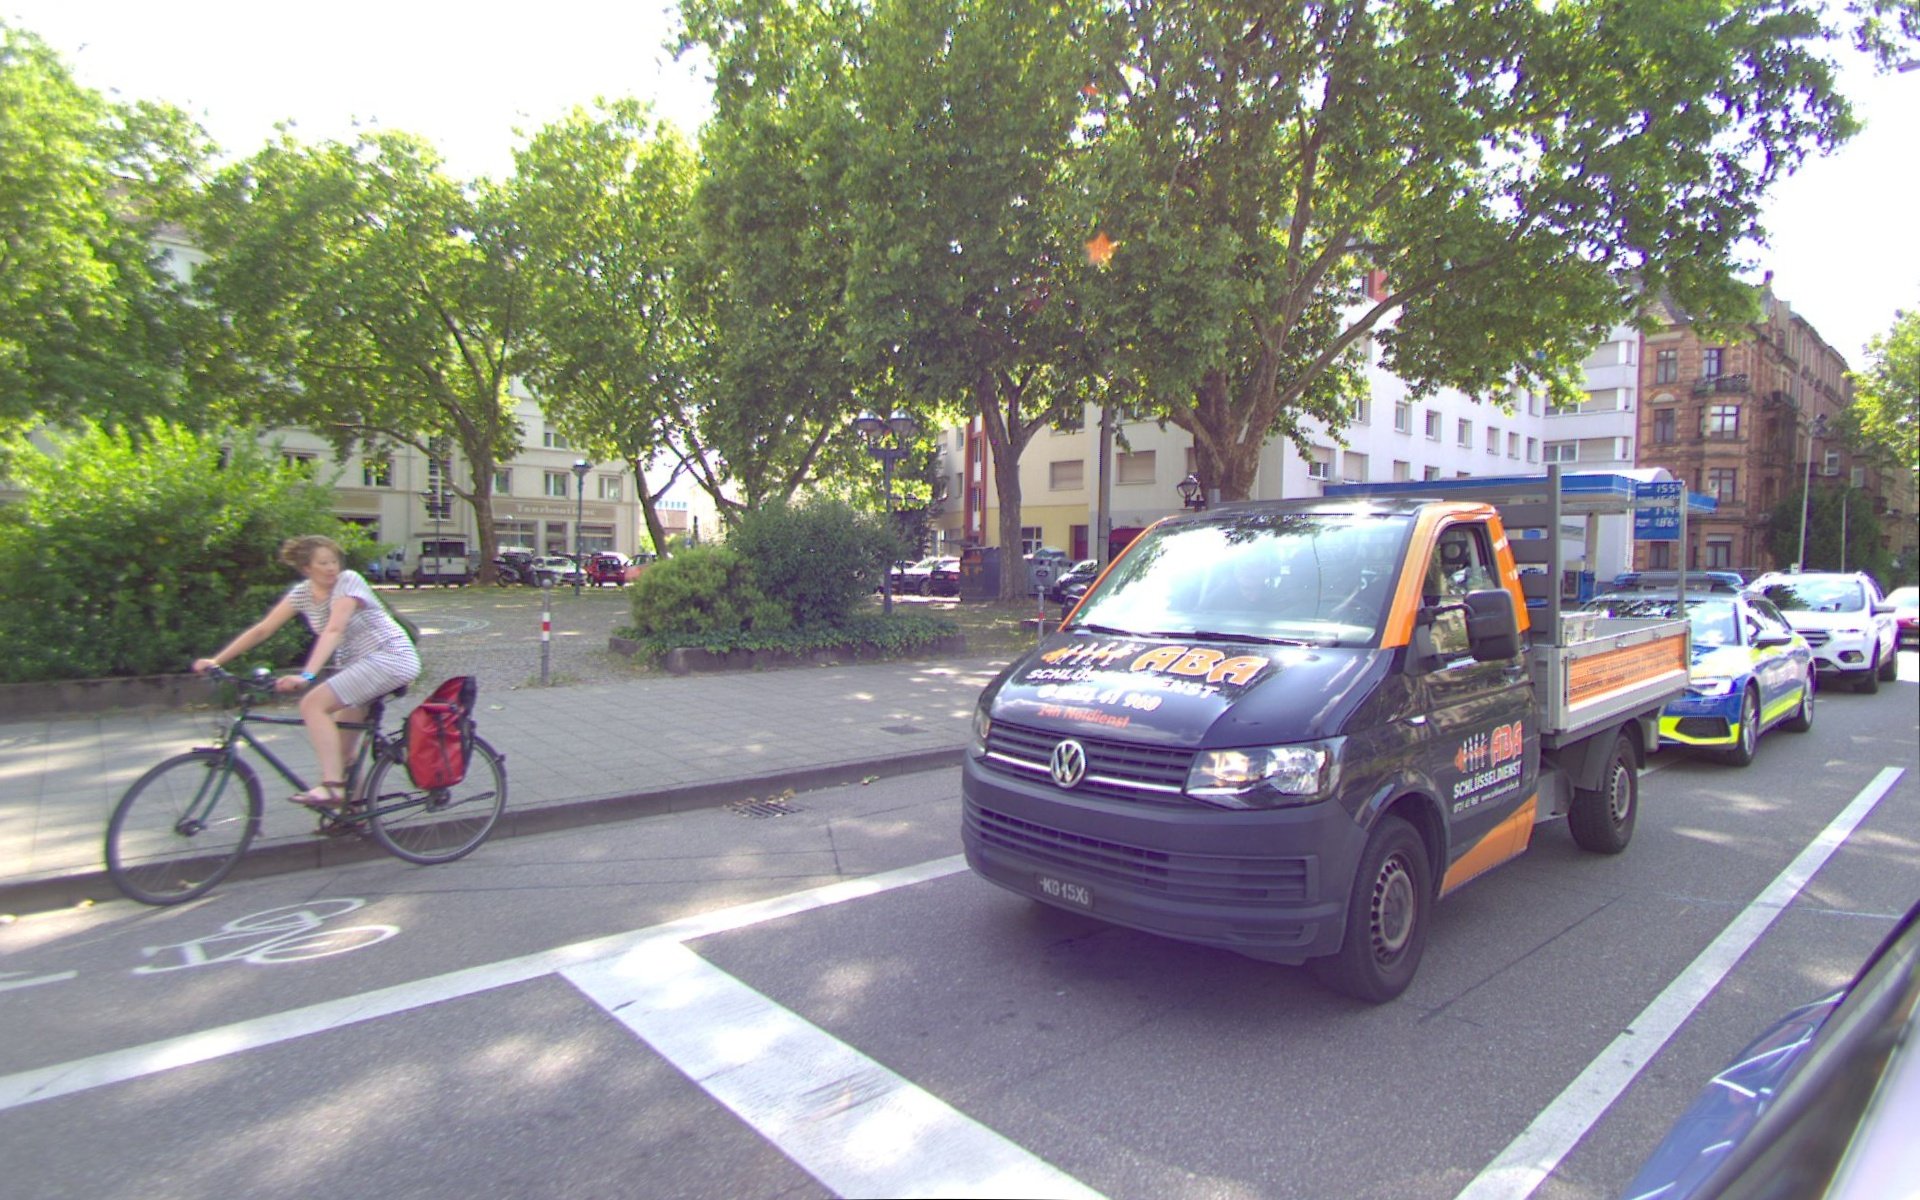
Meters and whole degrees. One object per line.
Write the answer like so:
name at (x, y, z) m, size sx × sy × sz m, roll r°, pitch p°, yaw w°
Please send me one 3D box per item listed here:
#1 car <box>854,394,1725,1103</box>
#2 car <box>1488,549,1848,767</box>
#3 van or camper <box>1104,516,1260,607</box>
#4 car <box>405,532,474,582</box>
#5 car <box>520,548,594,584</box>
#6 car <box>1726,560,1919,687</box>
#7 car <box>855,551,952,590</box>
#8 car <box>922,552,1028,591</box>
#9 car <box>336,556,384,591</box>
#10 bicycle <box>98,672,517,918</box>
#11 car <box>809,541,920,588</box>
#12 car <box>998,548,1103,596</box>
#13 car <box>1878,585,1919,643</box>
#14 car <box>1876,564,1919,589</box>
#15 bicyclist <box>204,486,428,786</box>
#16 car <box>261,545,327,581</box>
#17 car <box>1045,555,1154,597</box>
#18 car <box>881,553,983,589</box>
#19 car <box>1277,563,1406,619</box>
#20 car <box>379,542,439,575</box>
car at (2.170, 0.271, 5.391) m, size 5.246 × 2.010 × 2.078 m, roll -3°, pitch 4°, yaw -42°
car at (7.271, 0.372, 10.146) m, size 5.065 × 1.672 × 1.869 m, roll -2°, pitch 2°, yaw -42°
van or camper at (7.162, -1.192, 32.291) m, size 5.256 × 2.674 × 2.106 m, roll -1°, pitch 1°, yaw -41°
car at (-22.790, -1.827, 44.259) m, size 2.212 × 2.039 × 3.934 m, roll -1°, pitch 1°, yaw -34°
car at (-18.901, -1.598, 47.370) m, size 1.821 × 1.552 × 4.075 m, roll -1°, pitch 3°, yaw -44°
car at (13.221, 0.247, 15.313) m, size 4.600 × 1.626 × 1.763 m, roll -1°, pitch 3°, yaw -42°
car at (-2.365, -1.237, 42.917) m, size 3.933 × 1.539 × 1.660 m, roll -2°, pitch 1°, yaw -43°
car at (0.599, -1.080, 38.657) m, size 3.933 × 1.381 × 1.764 m, roll -2°, pitch 1°, yaw -43°
car at (-30.735, -1.329, 51.789) m, size 1.896 × 1.688 × 3.737 m, roll -1°, pitch 1°, yaw -34°
bicycle at (-3.155, 0.894, 5.049) m, size 1.684 × 0.932 × 0.471 m, roll -1°, pitch 3°, yaw -34°
car at (-4.179, -1.547, 44.635) m, size 4.604 × 1.958 × 1.996 m, roll -2°, pitch 1°, yaw -43°
car at (3.287, -0.998, 36.231) m, size 3.933 × 1.624 × 1.527 m, roll -2°, pitch 2°, yaw -43°
car at (22.602, 0.312, 23.364) m, size 3.570 × 1.203 × 1.620 m, roll -2°, pitch 3°, yaw -41°
car at (79.343, -1.924, 84.241) m, size 1.966 × 1.941 × 4.408 m, roll -1°, pitch 3°, yaw -43°
bicyclist at (-3.168, 0.150, 5.021) m, size 0.892 × 1.360 × 0.471 m, roll -1°, pitch 3°, yaw -33°
car at (-32.878, -1.841, 49.926) m, size 2.048 × 1.679 × 4.075 m, roll -1°, pitch 3°, yaw -44°
car at (4.730, -0.803, 33.930) m, size 3.933 × 1.310 × 1.475 m, roll -2°, pitch 1°, yaw -43°
car at (-1.083, -1.159, 40.493) m, size 3.933 × 1.381 × 1.764 m, roll -2°, pitch 1°, yaw -43°
car at (10.555, -0.298, 27.874) m, size 3.933 × 1.428 × 1.754 m, roll -2°, pitch 3°, yaw -43°
car at (-29.228, -2.225, 53.642) m, size 1.821 × 1.679 × 4.075 m, roll -1°, pitch 3°, yaw -44°
